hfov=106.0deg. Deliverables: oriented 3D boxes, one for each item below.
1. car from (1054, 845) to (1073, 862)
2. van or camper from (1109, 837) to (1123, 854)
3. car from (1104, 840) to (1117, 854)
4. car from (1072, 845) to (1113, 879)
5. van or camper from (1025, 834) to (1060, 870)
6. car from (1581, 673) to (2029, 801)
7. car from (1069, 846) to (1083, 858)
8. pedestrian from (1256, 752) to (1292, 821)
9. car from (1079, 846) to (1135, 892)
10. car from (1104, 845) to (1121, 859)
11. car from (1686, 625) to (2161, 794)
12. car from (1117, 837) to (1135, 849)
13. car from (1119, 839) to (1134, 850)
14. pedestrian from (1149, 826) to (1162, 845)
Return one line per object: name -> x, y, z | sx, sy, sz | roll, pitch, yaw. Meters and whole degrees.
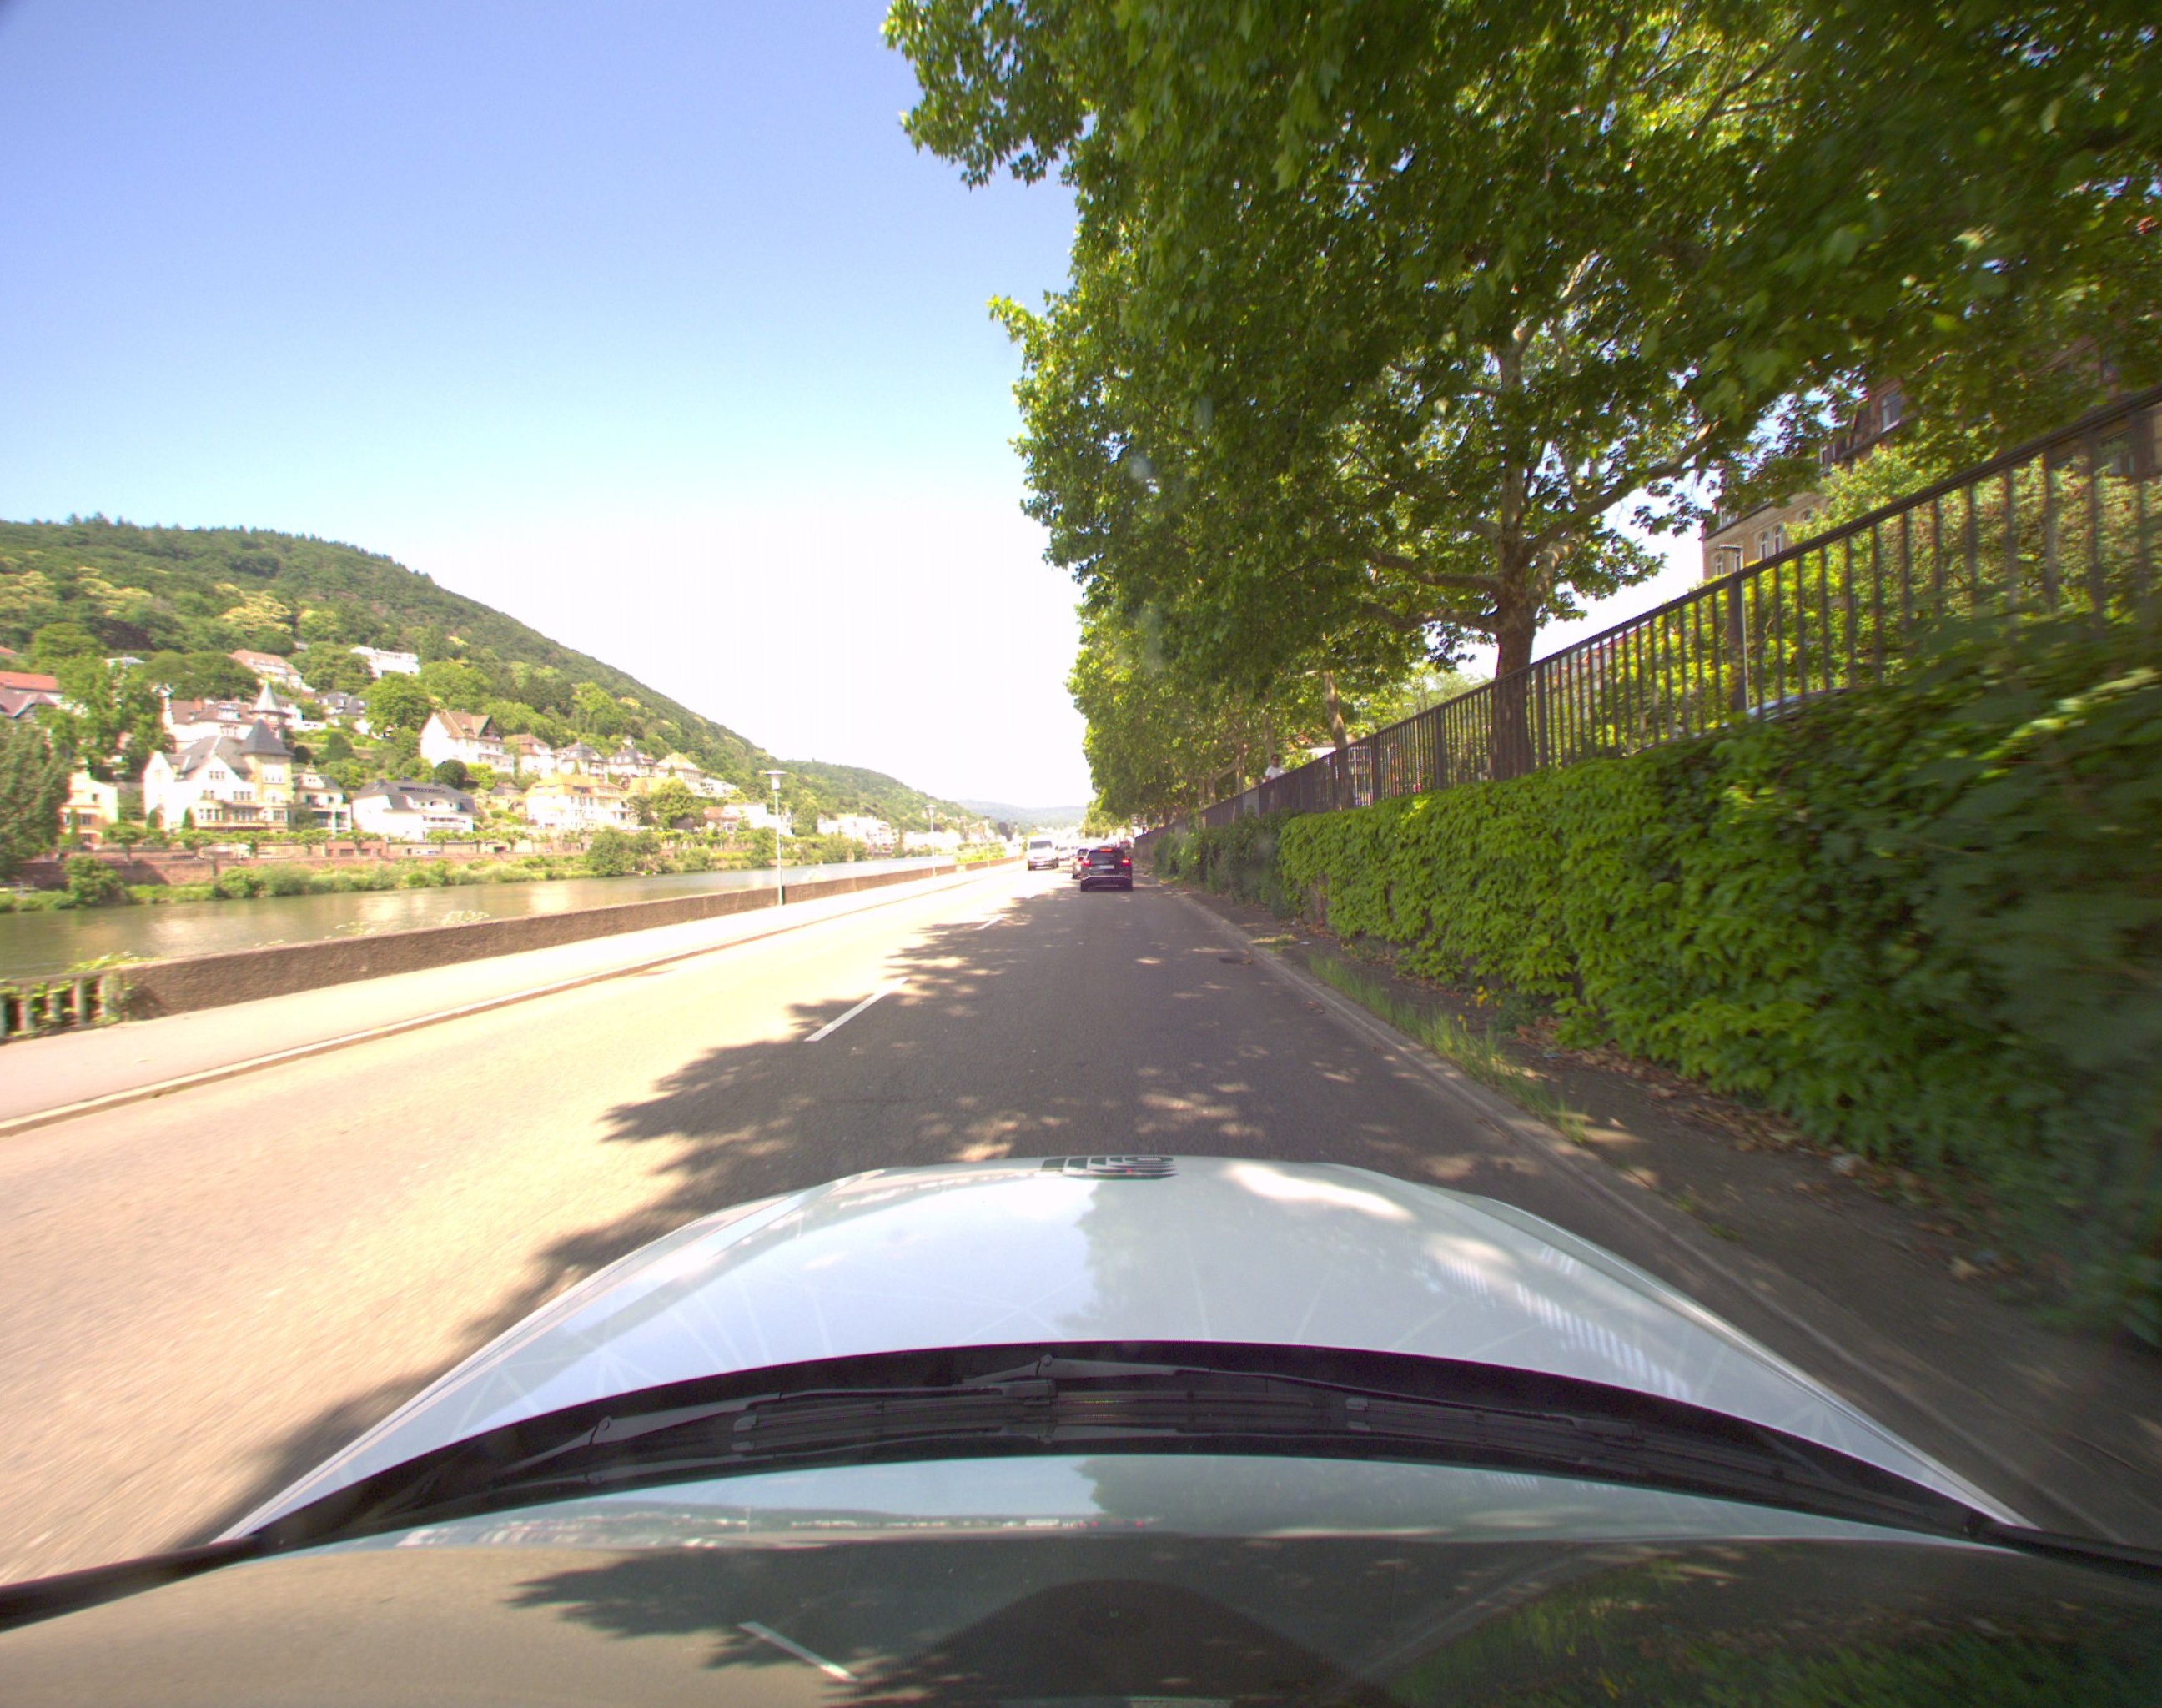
car -> -1.863, -0.107, 87.702 | 1.725, 1.650, 4.178 | -3, 0, 1
van or camper -> 6.099, -1.509, 142.057 | 2.300, 2.847, 4.249 | -2, 0, 3
car -> 4.724, -1.129, 129.799 | 1.987, 2.169, 4.001 | -1, 1, 1
car -> 0.560, 0.326, 39.122 | 1.822, 1.511, 4.001 | -1, 1, 1
van or camper -> -2.697, -0.172, 58.553 | 2.069, 2.398, 5.387 | -2, 0, 1
car -> 8.084, -1.279, 9.333 | 3.720, 1.115, 1.650 | -2, 0, -2
car -> -0.633, -0.246, 108.228 | 1.725, 1.441, 4.046 | -3, 0, 1
pedestrian -> 4.684, -1.630, 19.796 | 0.662, 1.591, 0.651 | -3, 0, 1
car -> 0.895, 0.477, 28.953 | 1.822, 1.486, 4.001 | -1, 1, 1
car -> 3.485, -0.228, 91.596 | 1.822, 1.444, 4.001 | -2, 0, 1
car -> 7.810, -1.214, 7.178 | 3.718, 1.115, 1.651 | -2, 0, 0
car -> 8.476, -2.010, 153.507 | 3.087, 2.013, 5.826 | -5, 1, 1
car -> 9.205, -1.982, 163.794 | 2.652, 2.013, 5.826 | -5, 1, 1
pedestrian -> 6.383, -1.577, 69.842 | 0.934, 1.579, 1.027 | -5, 0, -1
